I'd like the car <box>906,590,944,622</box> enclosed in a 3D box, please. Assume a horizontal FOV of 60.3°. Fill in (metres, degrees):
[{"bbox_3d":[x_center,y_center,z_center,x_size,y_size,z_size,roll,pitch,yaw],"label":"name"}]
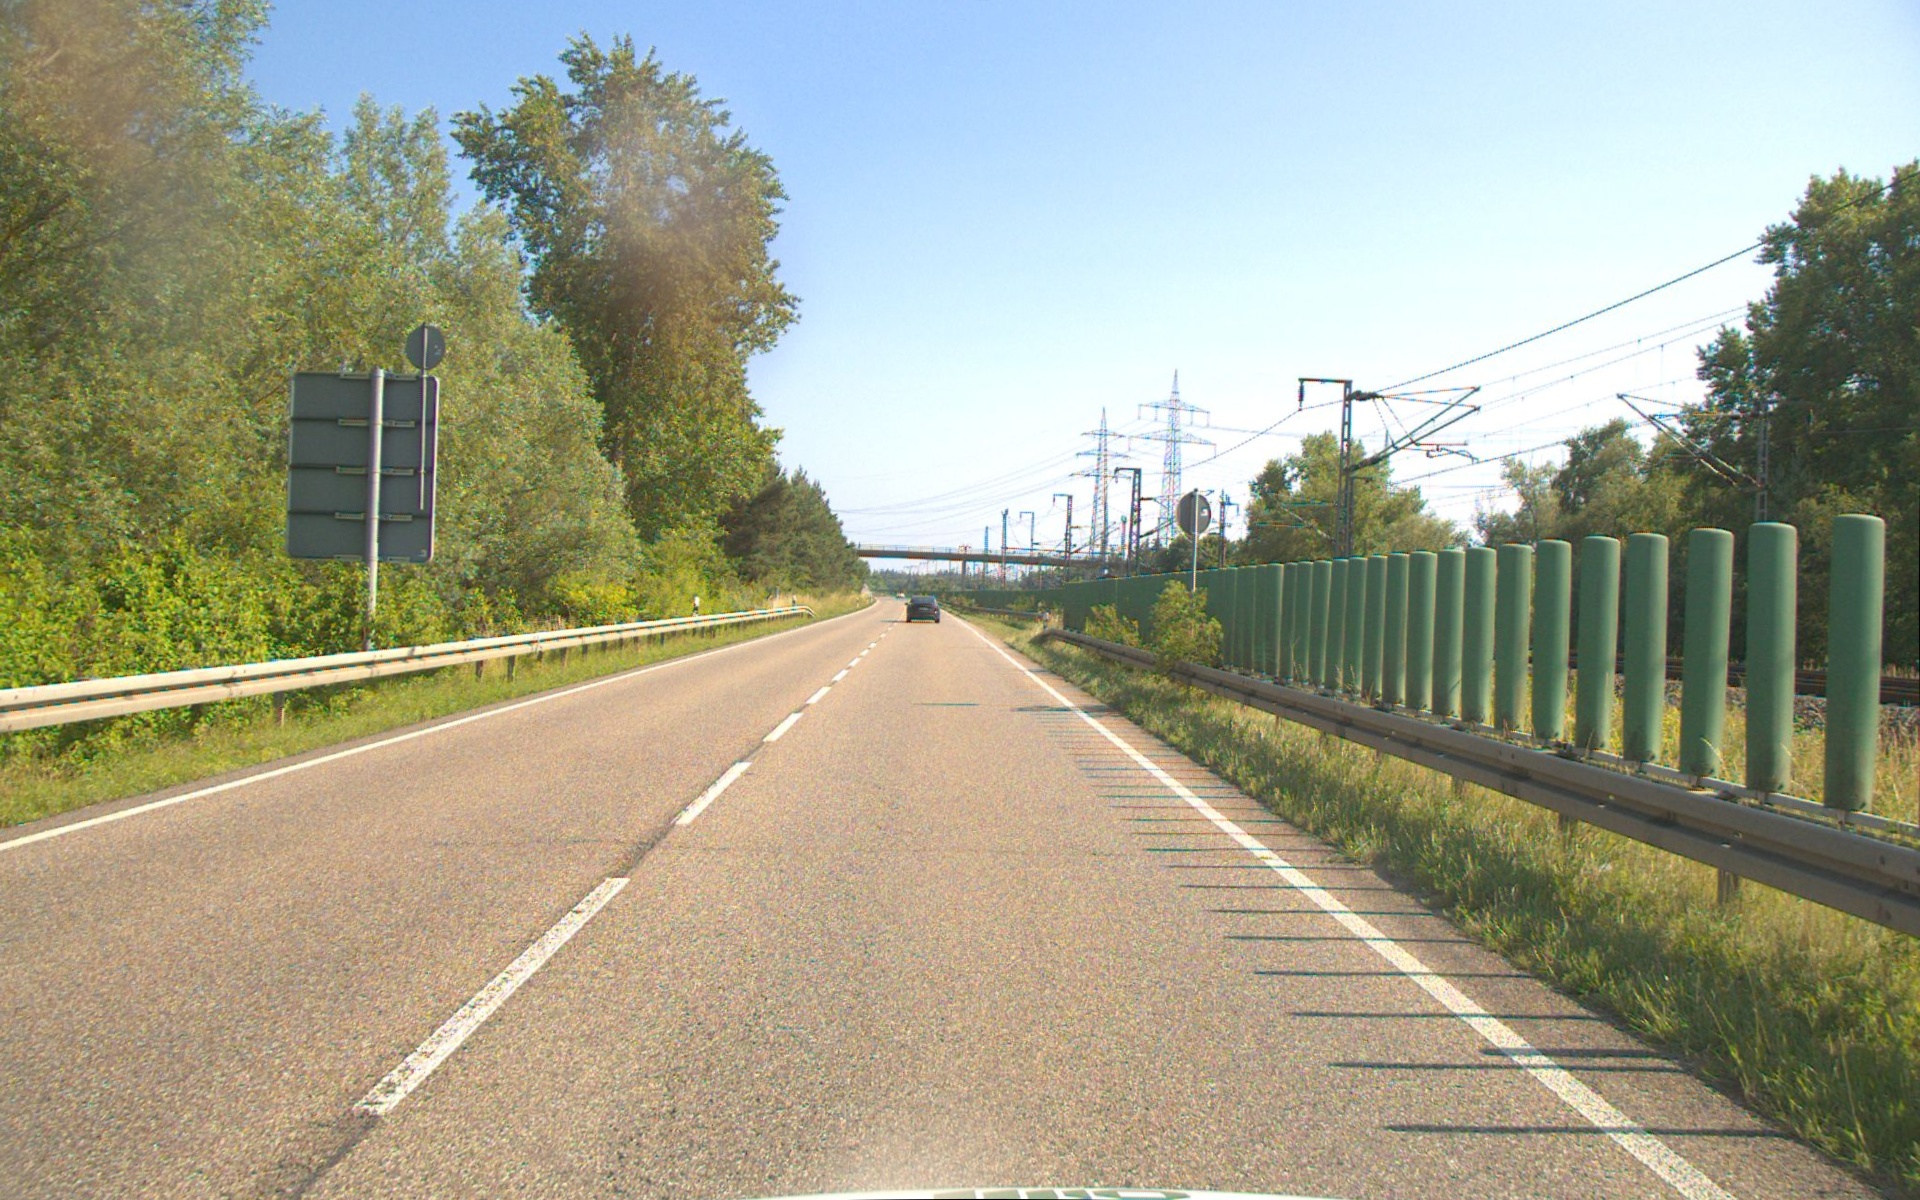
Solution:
[{"bbox_3d":[-1.935,0.316,90.664,1.822,1.670,3.996,0,0,-5],"label":"car"}]
